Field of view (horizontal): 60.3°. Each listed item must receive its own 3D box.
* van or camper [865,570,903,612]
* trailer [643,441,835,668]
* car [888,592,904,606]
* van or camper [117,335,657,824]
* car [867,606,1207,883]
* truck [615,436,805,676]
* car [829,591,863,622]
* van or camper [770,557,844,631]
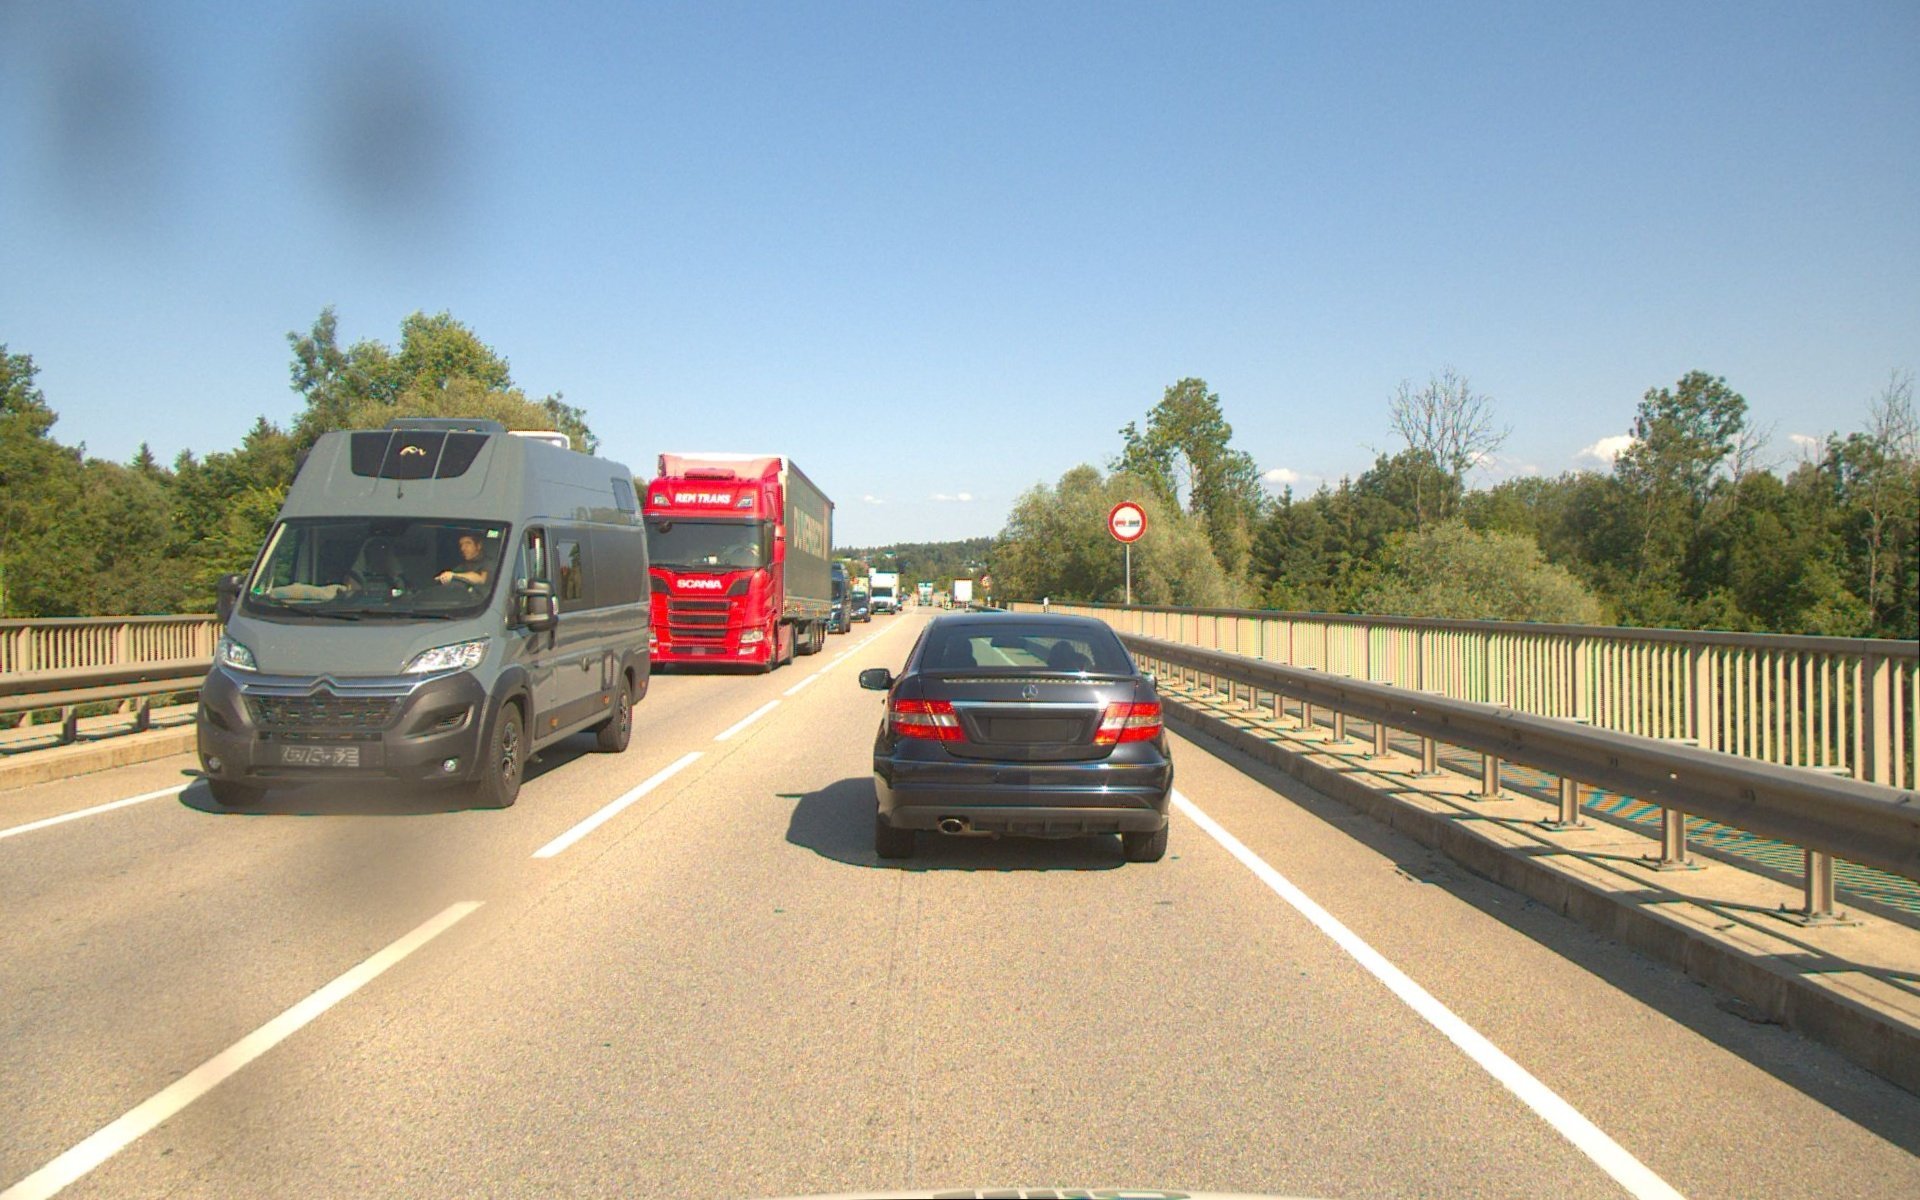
[{"bbox_3d":[-6.095,-0.739,133.639,2.581,3.313,7.750,0,0,1],"label":"van or camper"},{"bbox_3d":[-4.820,-0.910,39.187,2.848,4.377,14.299,0,0,-1],"label":"trailer"},{"bbox_3d":[-6.809,-0.088,176.387,1.626,1.461,4.186,0,0,-3],"label":"car"},{"bbox_3d":[-4.277,-0.141,13.972,2.268,3.104,6.816,0,0,-1],"label":"van or camper"},{"bbox_3d":[0.406,0.754,10.563,1.756,1.400,4.000,0,0,0],"label":"car"},{"bbox_3d":[-4.727,-0.801,32.348,2.848,4.258,5.712,0,0,0],"label":"truck"},{"bbox_3d":[-6.234,0.333,90.862,1.805,1.671,4.574,0,0,-4],"label":"car"},{"bbox_3d":[-5.858,-0.233,64.203,2.381,2.688,6.403,0,0,-1],"label":"van or camper"}]
